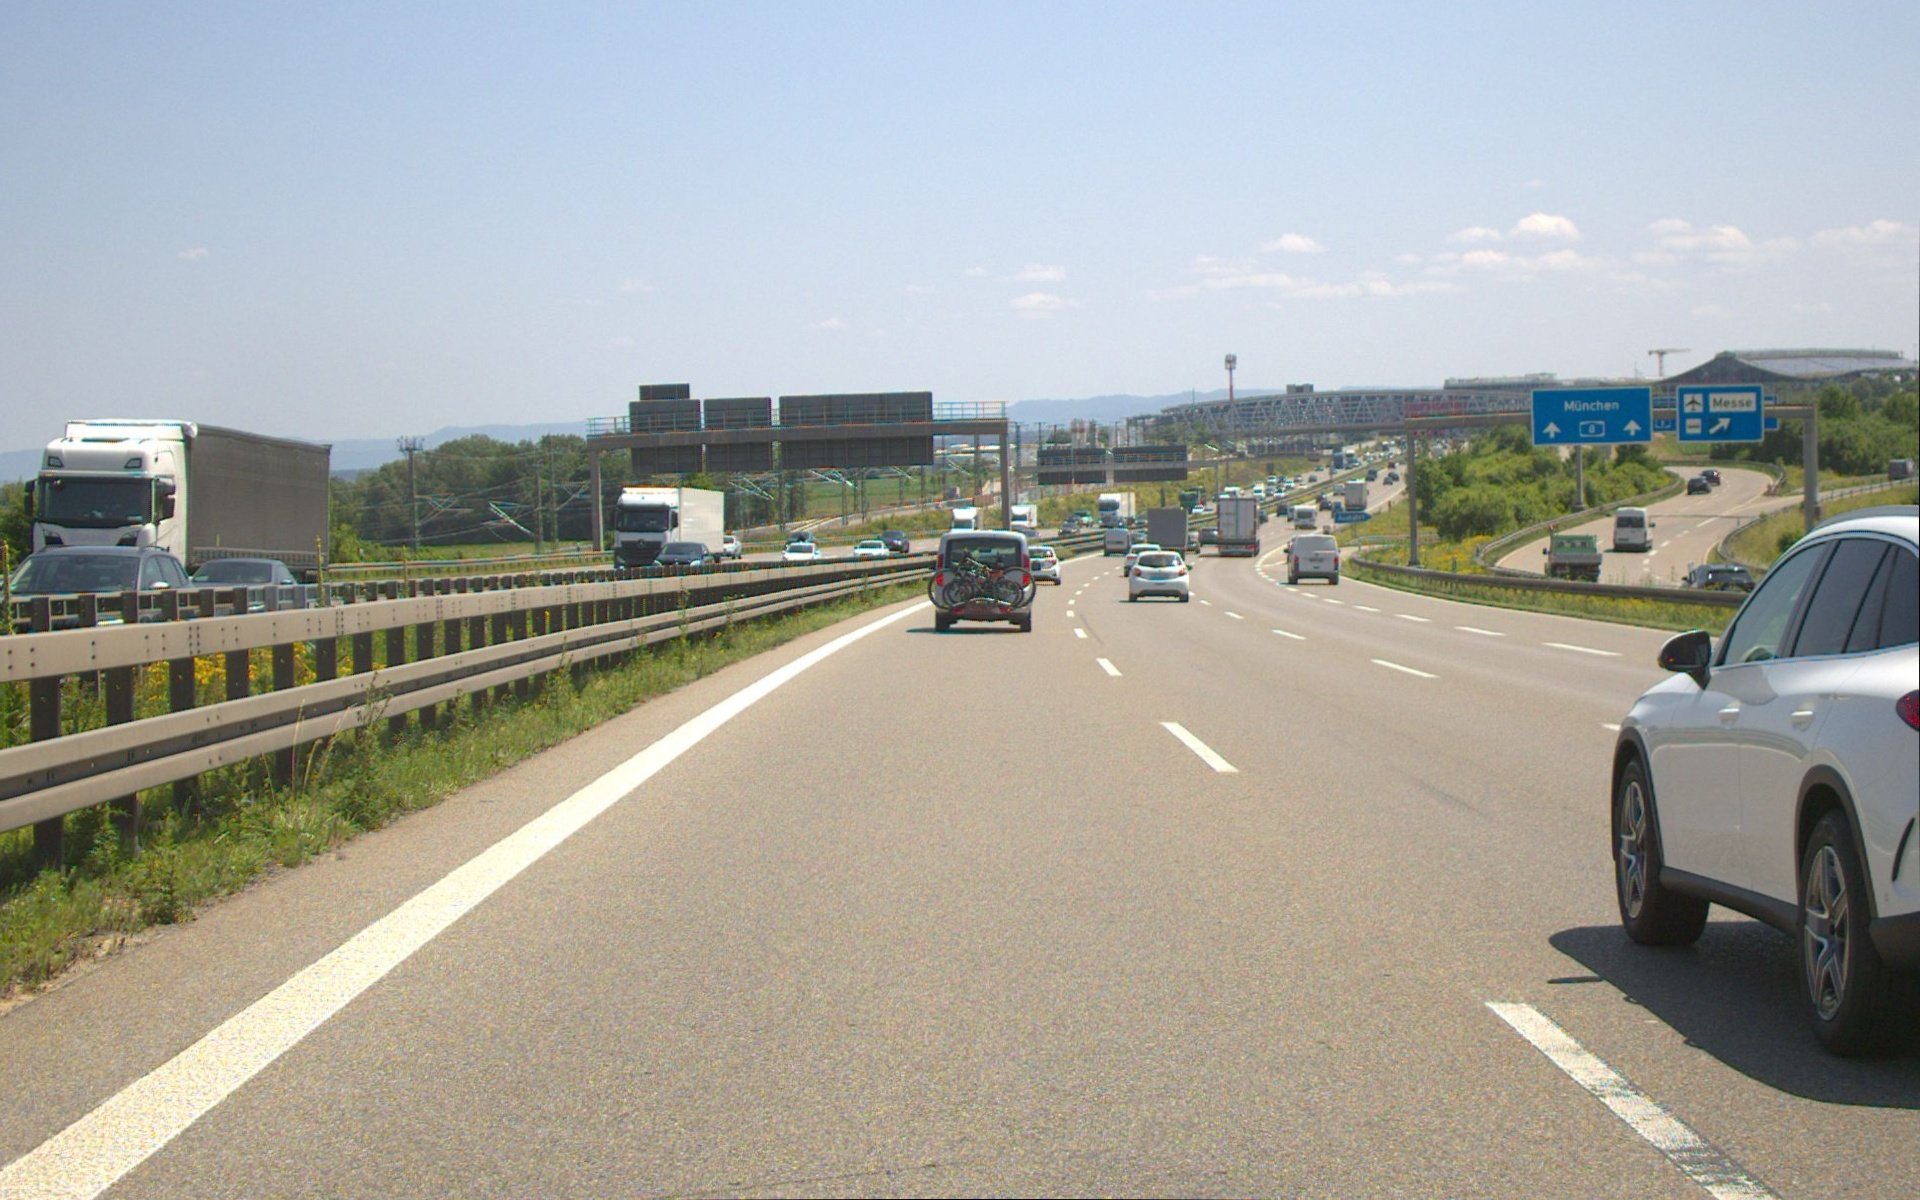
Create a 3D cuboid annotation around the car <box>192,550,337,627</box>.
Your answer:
[{"bbox_3d":[-12.831,-0.240,63.630,1.706,1.356,4.498,1,1,1],"label":"car"}]

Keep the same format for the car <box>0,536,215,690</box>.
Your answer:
[{"bbox_3d":[-9.682,0.097,38.053,1.847,1.592,4.409,1,1,1],"label":"car"}]

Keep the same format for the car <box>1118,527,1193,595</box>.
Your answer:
[{"bbox_3d":[5.640,-1.119,99.558,1.926,1.912,4.518,0,1,0],"label":"car"}]

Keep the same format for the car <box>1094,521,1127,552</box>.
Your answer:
[{"bbox_3d":[10.156,-4.290,231.612,2.186,1.996,4.000,0,2,3],"label":"car"}]

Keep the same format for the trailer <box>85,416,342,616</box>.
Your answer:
[{"bbox_3d":[-16.576,-1.832,77.421,2.890,4.099,12.586,1,1,1],"label":"trailer"}]

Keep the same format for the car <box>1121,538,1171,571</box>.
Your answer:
[{"bbox_3d":[8.438,-2.076,155.540,1.982,1.468,3.999,0,1,7],"label":"car"}]

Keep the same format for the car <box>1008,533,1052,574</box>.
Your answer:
[{"bbox_3d":[2.723,-1.802,133.308,1.576,1.547,3.964,0,1,3],"label":"car"}]

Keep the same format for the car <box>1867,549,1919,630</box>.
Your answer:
[{"bbox_3d":[23.599,-0.270,83.661,1.939,1.917,4.179,0,1,0],"label":"car"}]

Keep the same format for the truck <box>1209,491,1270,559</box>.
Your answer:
[{"bbox_3d":[19.214,-5.214,235.517,4.040,4.247,11.756,0,3,5],"label":"truck"}]

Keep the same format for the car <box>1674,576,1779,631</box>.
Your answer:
[{"bbox_3d":[23.080,0.085,103.657,1.993,1.590,4.001,0,1,-5],"label":"car"}]

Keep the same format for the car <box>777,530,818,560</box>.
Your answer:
[{"bbox_3d":[-8.076,-2.749,171.215,1.741,1.483,4.007,1,1,2],"label":"car"}]

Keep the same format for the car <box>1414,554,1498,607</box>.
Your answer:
[{"bbox_3d":[16.385,-0.658,113.741,1.993,1.684,4.000,0,1,-3],"label":"car"}]

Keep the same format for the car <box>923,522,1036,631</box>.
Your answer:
[{"bbox_3d":[0.398,-0.438,62.976,1.927,1.912,4.948,0,1,2],"label":"car"}]

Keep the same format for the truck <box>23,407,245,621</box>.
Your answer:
[{"bbox_3d":[-16.697,-1.723,69.925,2.881,4.103,6.384,1,1,1],"label":"truck"}]

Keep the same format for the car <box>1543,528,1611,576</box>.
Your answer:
[{"bbox_3d":[26.142,-2.017,145.831,1.993,2.007,4.000,0,1,-3],"label":"car"}]

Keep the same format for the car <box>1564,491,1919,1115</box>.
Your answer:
[{"bbox_3d":[3.432,0.514,11.543,1.898,1.641,4.999,0,1,0],"label":"car"}]

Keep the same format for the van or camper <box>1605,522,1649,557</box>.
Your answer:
[{"bbox_3d":[39.300,-3.560,202.624,2.530,2.007,4.459,1,1,11],"label":"van or camper"}]

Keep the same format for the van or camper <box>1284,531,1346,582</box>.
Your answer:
[{"bbox_3d":[14.217,-1.728,137.779,2.156,2.007,4.304,0,1,2],"label":"van or camper"}]

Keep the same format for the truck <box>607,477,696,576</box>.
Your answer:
[{"bbox_3d":[-13.495,-3.189,150.769,3.035,4.226,6.684,1,1,2],"label":"truck"}]

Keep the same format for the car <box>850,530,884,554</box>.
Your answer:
[{"bbox_3d":[-5.531,-3.469,204.733,1.657,1.398,4.759,1,1,3],"label":"car"}]

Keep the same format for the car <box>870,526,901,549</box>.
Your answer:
[{"bbox_3d":[-5.344,-4.483,246.377,1.847,1.650,4.910,1,1,3],"label":"car"}]

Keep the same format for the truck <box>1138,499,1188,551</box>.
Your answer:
[{"bbox_3d":[12.541,-4.590,212.922,2.702,3.098,10.659,0,1,1],"label":"truck"}]
